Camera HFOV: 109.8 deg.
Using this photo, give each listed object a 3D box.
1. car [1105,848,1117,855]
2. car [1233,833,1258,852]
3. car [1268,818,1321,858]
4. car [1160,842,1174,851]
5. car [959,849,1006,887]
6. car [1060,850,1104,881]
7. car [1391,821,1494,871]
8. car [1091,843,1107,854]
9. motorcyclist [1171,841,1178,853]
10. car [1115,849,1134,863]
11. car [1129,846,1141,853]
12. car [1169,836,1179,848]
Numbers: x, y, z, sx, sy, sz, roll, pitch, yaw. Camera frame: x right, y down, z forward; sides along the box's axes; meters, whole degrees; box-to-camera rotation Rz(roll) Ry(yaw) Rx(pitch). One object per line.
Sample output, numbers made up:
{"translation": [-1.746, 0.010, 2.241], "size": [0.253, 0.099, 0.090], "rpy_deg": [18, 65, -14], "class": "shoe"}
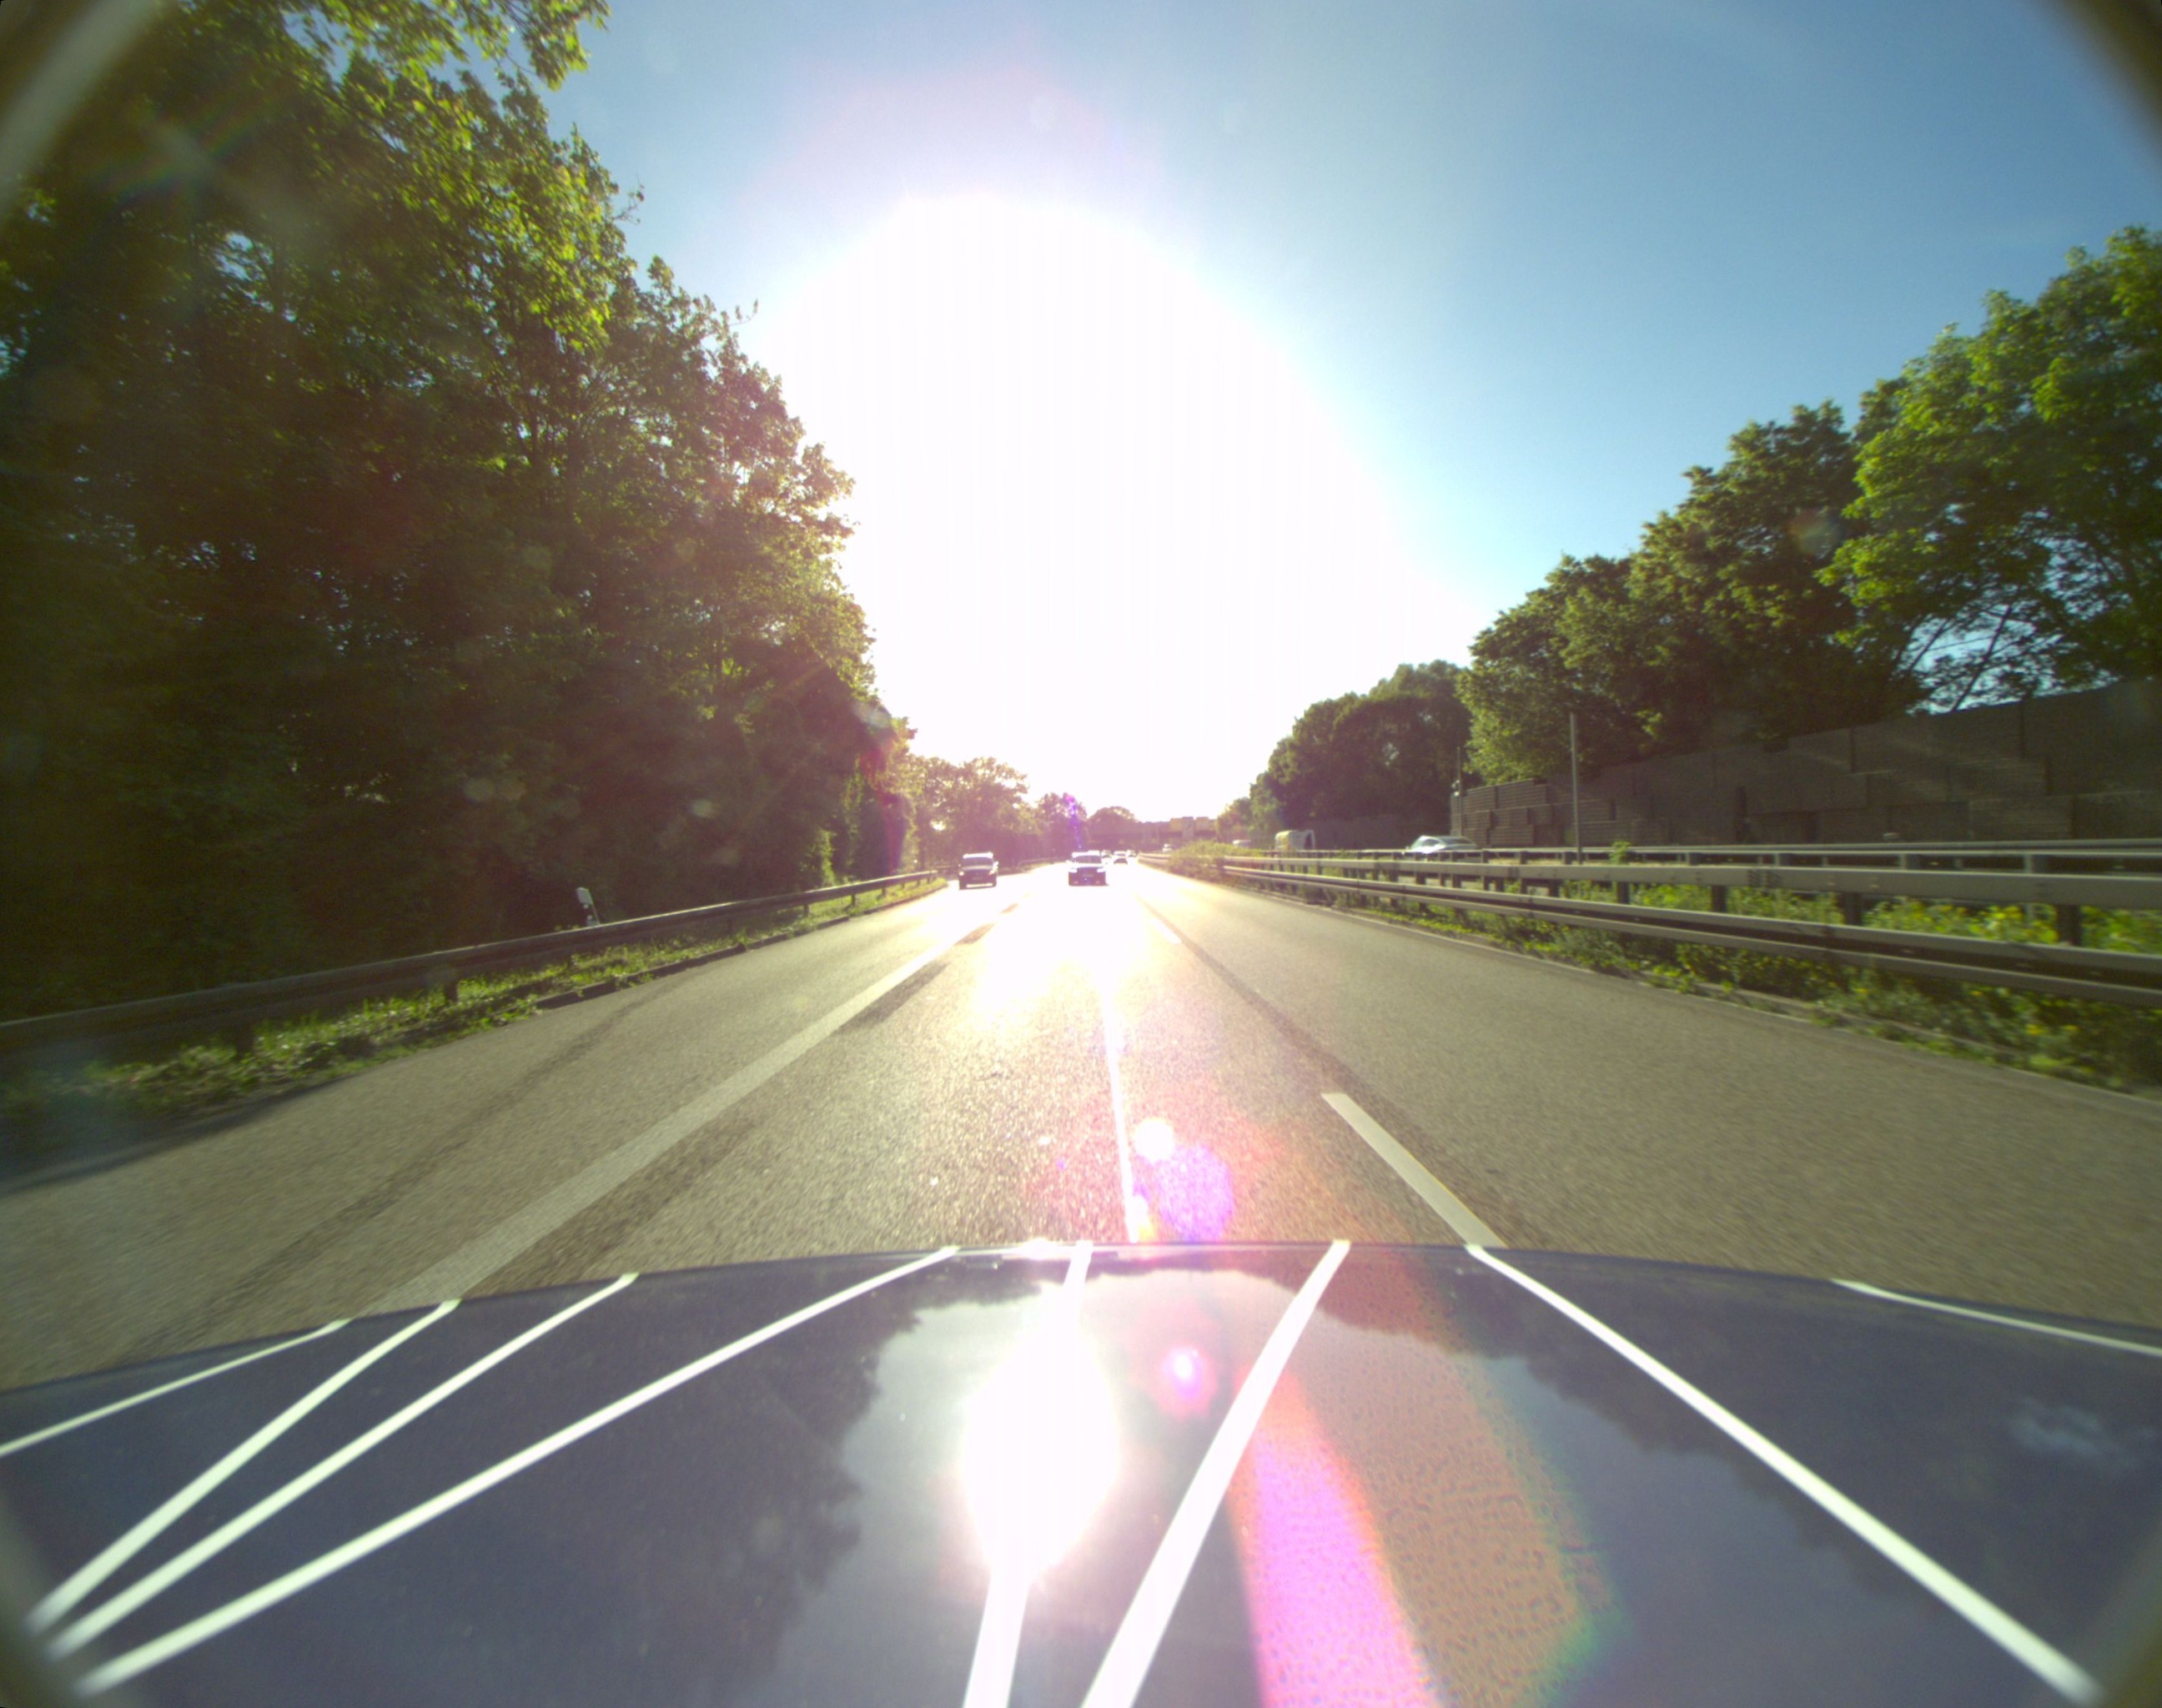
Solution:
{"translation": [5.831, -0.505, 148.548], "size": [1.998, 1.406, 4.832], "rpy_deg": [-3, 0, 5], "class": "car"}
{"translation": [21.084, -1.445, 97.475], "size": [2.081, 2.267, 5.375], "rpy_deg": [-4, 0, 3], "class": "car"}
{"translation": [15.662, -1.121, 56.059], "size": [2.152, 2.595, 6.052], "rpy_deg": [-4, 0, 1], "class": "car"}
{"translation": [15.489, -1.408, 136.922], "size": [1.826, 1.471, 4.621], "rpy_deg": [-4, 0, 1], "class": "car"}
{"translation": [-4.764, 0.672, 37.173], "size": [1.746, 1.652, 3.999], "rpy_deg": [-4, 0, -2], "class": "car"}
{"translation": [0.121, 0.533, 38.078], "size": [1.998, 1.406, 4.831], "rpy_deg": [-1, 1, 2], "class": "car"}
{"translation": [14.945, -0.302, 31.756], "size": [1.998, 1.772, 4.785], "rpy_deg": [-4, 0, 1], "class": "car"}
{"translation": [2.504, -0.801, 105.894], "size": [1.998, 1.406, 4.832], "rpy_deg": [-3, 0, 4], "class": "car"}
{"translation": [13.813, -1.017, 112.786], "size": [0.824, 1.616, 1.046], "rpy_deg": [-4, 0, 1], "class": "motorcyclist"}
{"translation": [4.964, 0.197, 87.242], "size": [1.998, 1.406, 4.831], "rpy_deg": [-3, 0, 3], "class": "car"}
{"translation": [10.917, -0.961, 153.848], "size": [1.997, 1.406, 4.833], "rpy_deg": [-3, 0, 7], "class": "car"}
{"translation": [24.138, -3.075, 196.968], "size": [2.126, 2.667, 6.590], "rpy_deg": [-4, 0, 4], "class": "car"}
